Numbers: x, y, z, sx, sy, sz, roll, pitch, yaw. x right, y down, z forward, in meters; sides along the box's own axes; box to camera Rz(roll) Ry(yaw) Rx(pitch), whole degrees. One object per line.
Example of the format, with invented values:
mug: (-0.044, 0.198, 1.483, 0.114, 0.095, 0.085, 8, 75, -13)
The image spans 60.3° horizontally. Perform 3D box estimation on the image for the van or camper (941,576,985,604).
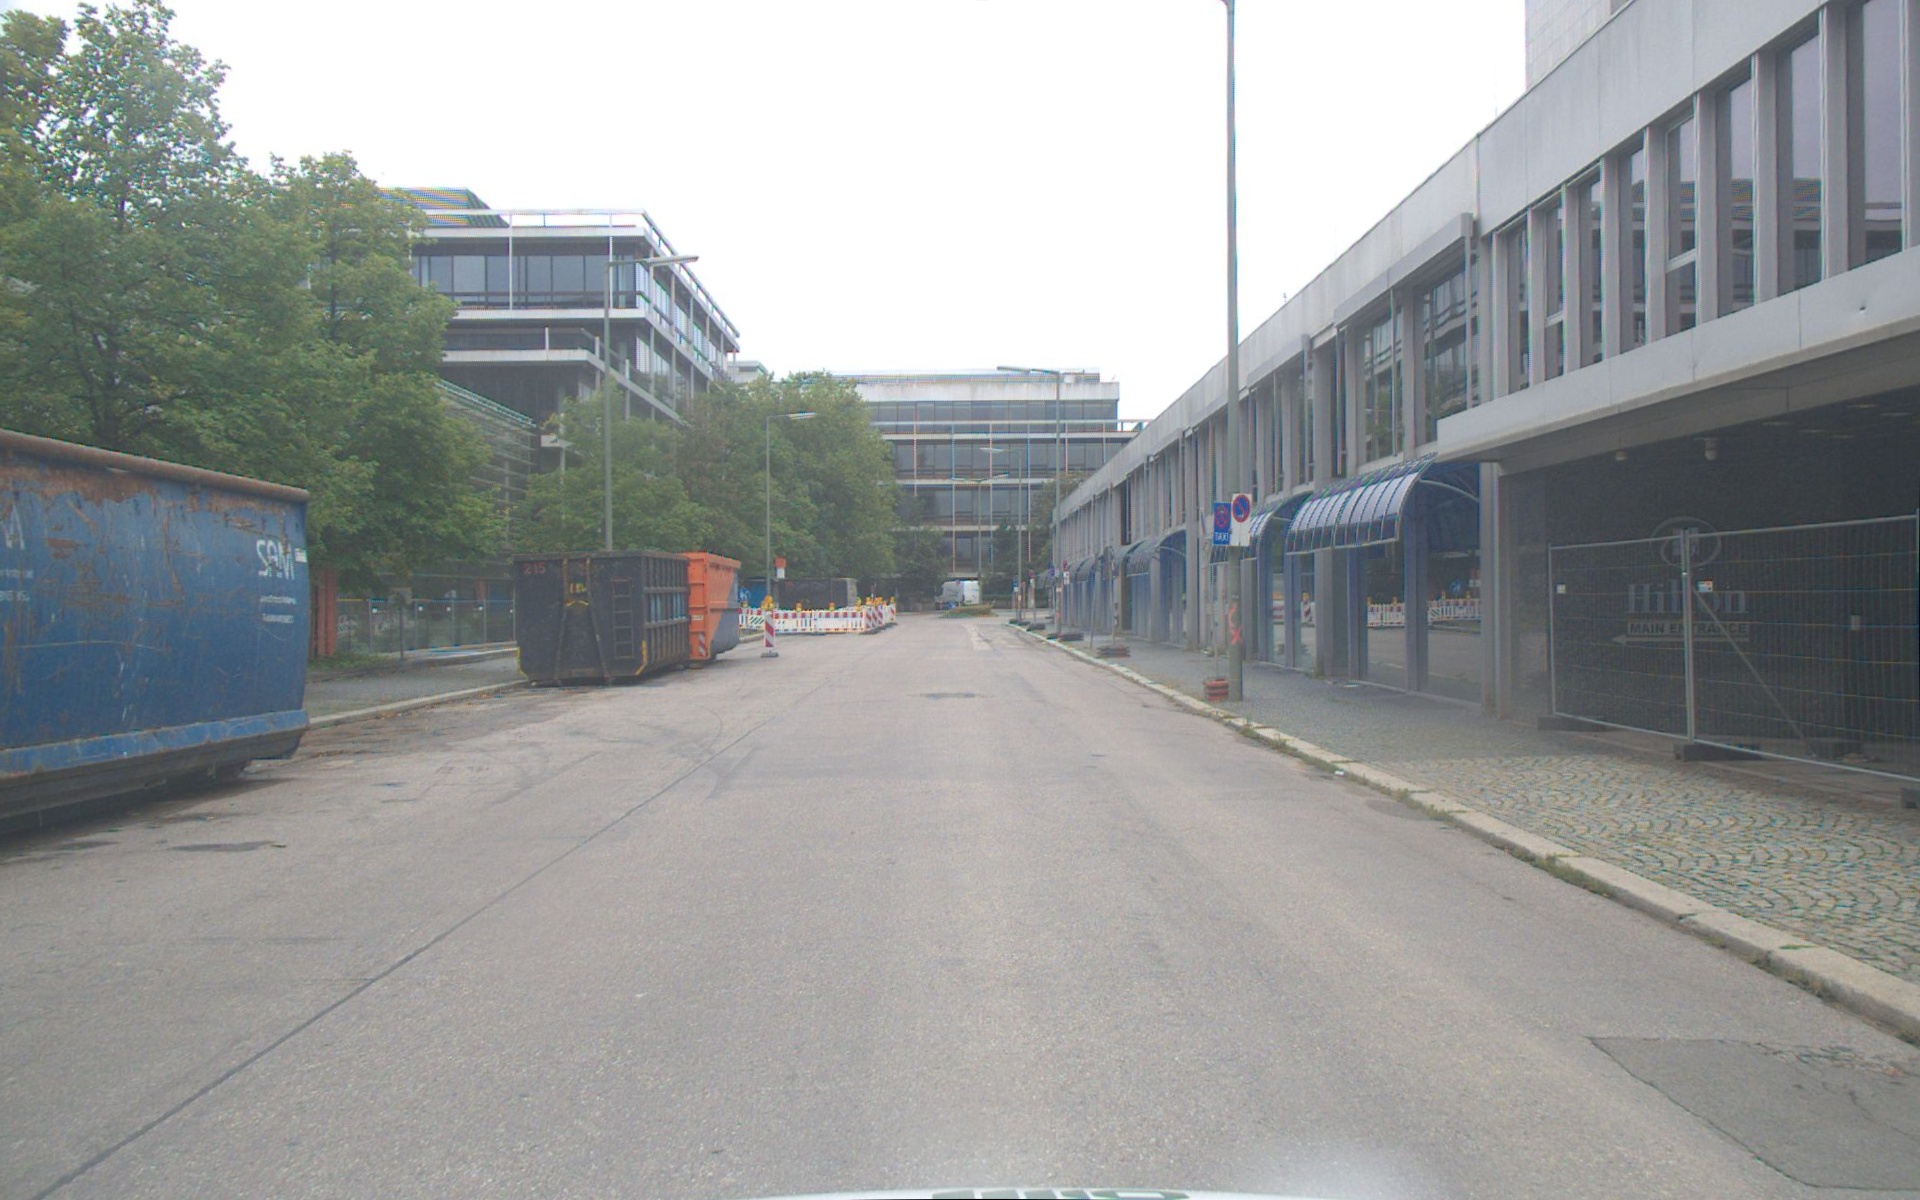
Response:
van or camper: (0.238, -0.913, 151.748, 2.059, 2.535, 5.026, -1, 0, -26)

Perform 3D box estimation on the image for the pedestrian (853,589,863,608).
pedestrian: (-9.244, -0.170, 150.275, 0.730, 1.706, 0.678, -1, 0, -20)
